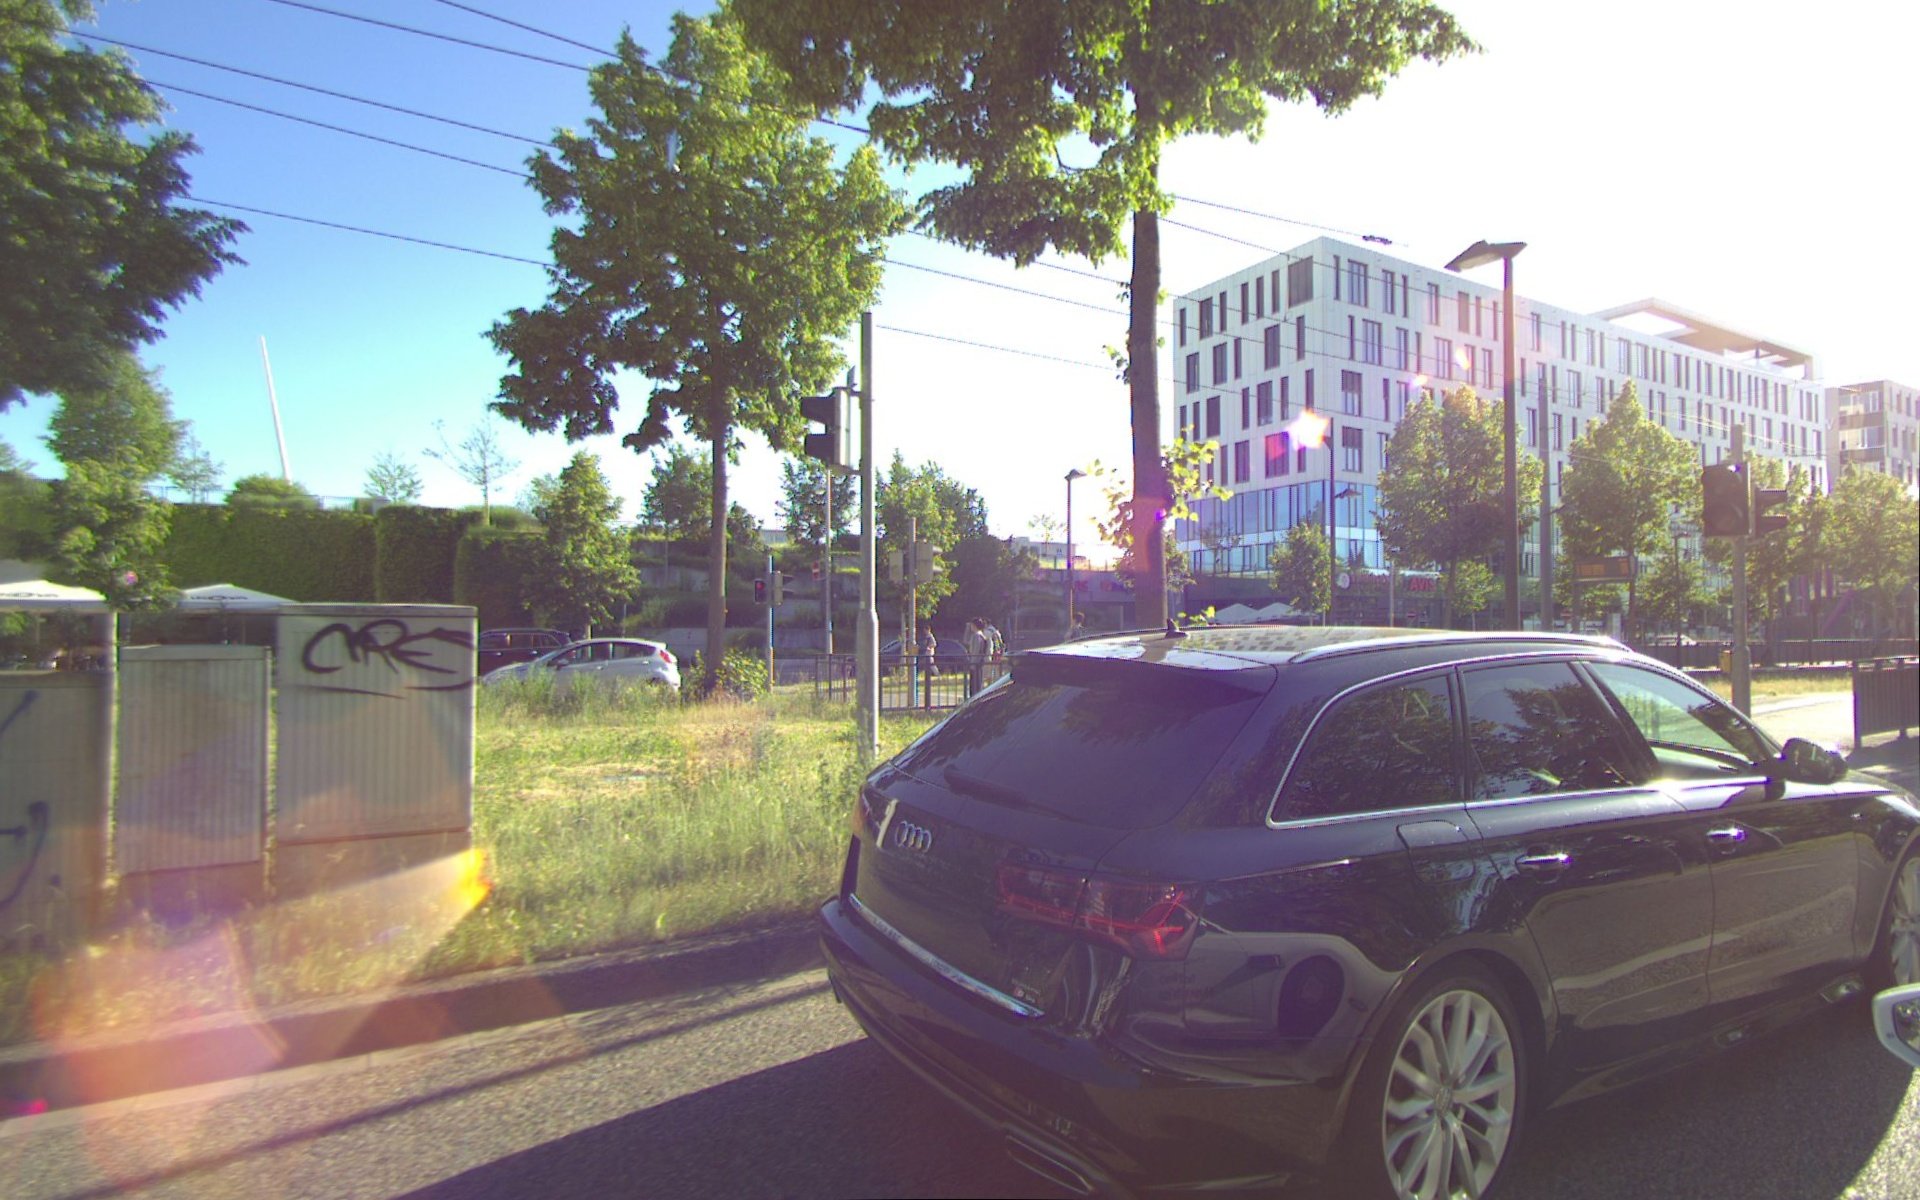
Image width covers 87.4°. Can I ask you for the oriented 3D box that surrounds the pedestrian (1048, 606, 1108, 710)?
[{"bbox_3d":[2.178,1.050,18.622,0.718,1.860,0.816,2,0,-32],"label":"pedestrian"}]

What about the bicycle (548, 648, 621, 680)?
[{"bbox_3d":[-12.259,2.075,32.796,2.163,1.014,0.494,2,0,-31],"label":"bicycle"}]

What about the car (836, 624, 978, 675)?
[{"bbox_3d":[-1.808,1.694,34.825,4.555,1.642,1.871,2,-1,-29],"label":"car"}]

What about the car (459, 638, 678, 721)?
[{"bbox_3d":[-8.155,1.594,20.961,3.956,1.506,1.982,2,-1,-32],"label":"car"}]

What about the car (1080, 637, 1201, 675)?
[{"bbox_3d":[7.215,2.218,40.048,4.555,1.343,1.904,2,-1,-29],"label":"car"}]

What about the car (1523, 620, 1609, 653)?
[{"bbox_3d":[33.556,2.026,55.613,4.793,1.737,1.985,2,-1,-29],"label":"car"}]

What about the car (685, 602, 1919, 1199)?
[{"bbox_3d":[1.739,0.795,3.733,5.023,1.500,1.944,1,0,-30],"label":"car"}]

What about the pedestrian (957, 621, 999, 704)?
[{"bbox_3d":[0.343,1.168,18.999,0.580,1.538,0.548,1,0,-25],"label":"pedestrian"}]

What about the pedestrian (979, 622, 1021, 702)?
[{"bbox_3d":[0.778,1.196,19.561,0.595,1.516,0.541,1,0,-26],"label":"pedestrian"}]

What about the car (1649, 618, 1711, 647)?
[{"bbox_3d":[53.415,2.381,74.516,4.508,2.040,1.985,2,0,-29],"label":"car"}]

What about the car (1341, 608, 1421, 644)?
[{"bbox_3d":[24.956,1.553,59.546,4.508,2.040,1.985,2,0,-29],"label":"car"}]

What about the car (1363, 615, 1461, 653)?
[{"bbox_3d":[21.777,1.649,48.414,4.555,1.694,1.985,2,-1,-29],"label":"car"}]

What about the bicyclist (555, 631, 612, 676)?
[{"bbox_3d":[-12.277,1.732,32.783,1.641,1.424,0.486,2,0,-31],"label":"bicyclist"}]

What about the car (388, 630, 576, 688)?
[{"bbox_3d":[-13.247,1.620,27.957,4.555,1.454,1.871,2,-1,-29],"label":"car"}]

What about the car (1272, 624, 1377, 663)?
[{"bbox_3d":[16.554,1.974,45.614,4.555,1.630,1.985,2,-1,-29],"label":"car"}]
